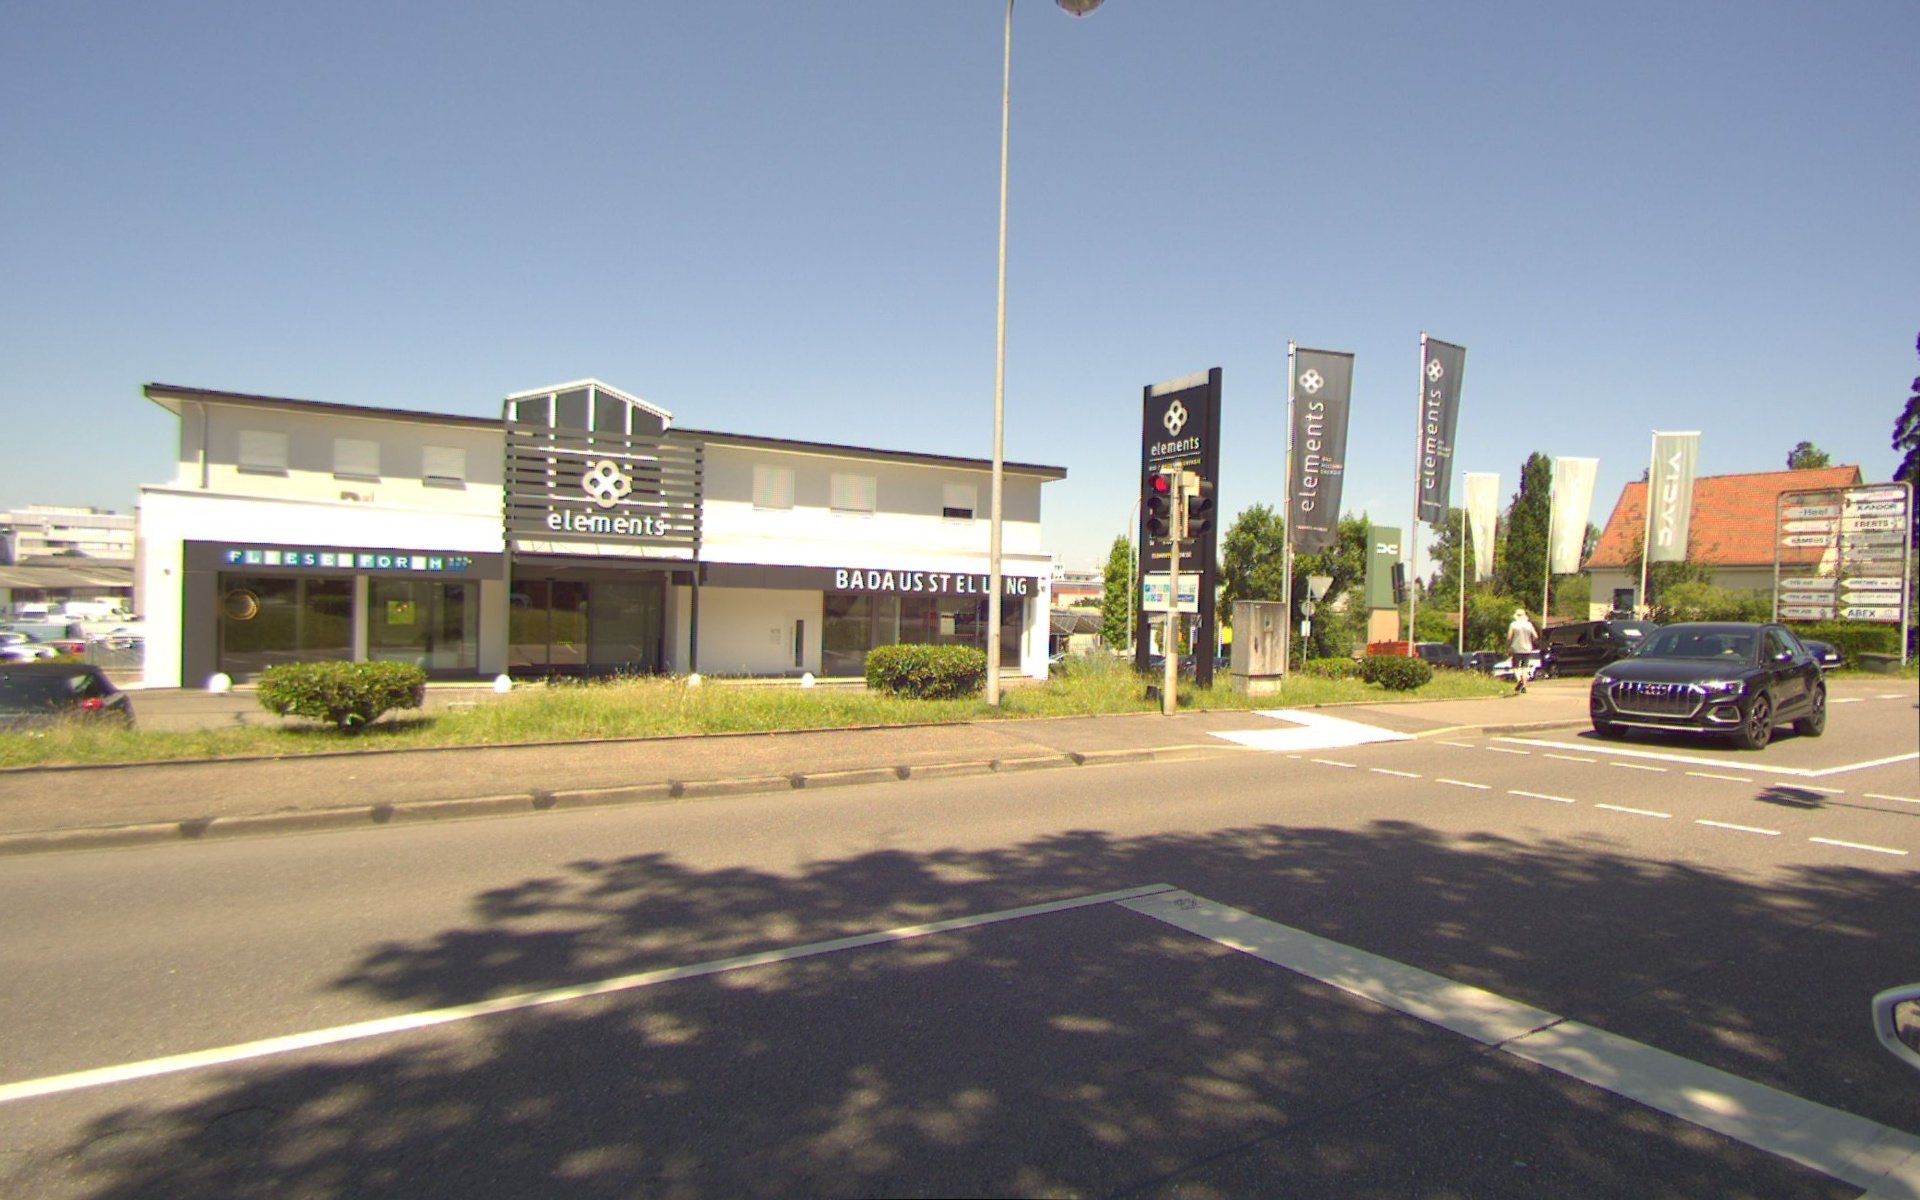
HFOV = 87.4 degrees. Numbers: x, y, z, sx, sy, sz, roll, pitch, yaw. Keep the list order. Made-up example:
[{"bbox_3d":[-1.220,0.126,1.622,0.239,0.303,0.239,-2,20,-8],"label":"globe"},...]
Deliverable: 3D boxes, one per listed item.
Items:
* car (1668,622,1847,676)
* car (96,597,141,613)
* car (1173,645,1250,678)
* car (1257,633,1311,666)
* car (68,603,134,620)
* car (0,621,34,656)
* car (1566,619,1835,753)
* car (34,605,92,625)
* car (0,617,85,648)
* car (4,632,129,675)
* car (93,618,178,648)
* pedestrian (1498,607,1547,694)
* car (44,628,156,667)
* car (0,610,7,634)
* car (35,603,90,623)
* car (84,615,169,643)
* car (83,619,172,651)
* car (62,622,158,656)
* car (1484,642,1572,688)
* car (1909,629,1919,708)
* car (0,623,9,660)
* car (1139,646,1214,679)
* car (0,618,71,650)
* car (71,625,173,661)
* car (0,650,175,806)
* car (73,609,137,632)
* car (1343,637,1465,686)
[{"bbox_3d":[24.998,1.496,31.663,1.751,1.524,4.129,1,-1,-20],"label":"car"},{"bbox_3d":[-100.091,0.616,119.523,3.726,1.778,1.719,2,-1,-28],"label":"car"},{"bbox_3d":[12.002,2.906,47.799,3.837,1.434,1.633,2,-1,-41],"label":"car"},{"bbox_3d":[18.738,2.839,58.028,1.785,1.744,4.075,1,0,36],"label":"car"},{"bbox_3d":[-96.014,1.308,112.363,5.236,1.778,2.051,2,-1,-28],"label":"car"},{"bbox_3d":[-51.430,1.996,52.785,3.726,1.778,1.719,2,-1,-28],"label":"car"},{"bbox_3d":[10.460,1.100,14.088,4.263,1.576,1.912,2,-1,-37],"label":"car"},{"bbox_3d":[-84.225,1.413,94.372,3.726,1.778,1.719,2,-1,-28],"label":"car"},{"bbox_3d":[-54.736,1.915,59.751,3.726,1.778,1.719,2,-1,-28],"label":"car"},{"bbox_3d":[-38.836,2.320,43.771,3.726,1.778,1.719,2,-1,-28],"label":"car"},{"bbox_3d":[-50.725,2.050,61.895,3.726,1.778,1.719,2,-1,-28],"label":"car"},{"bbox_3d":[11.715,1.039,20.931,0.689,1.785,0.545,1,0,-4],"label":"pedestrian"},{"bbox_3d":[-41.159,2.270,48.172,3.726,1.778,1.719,2,-1,-28],"label":"car"},{"bbox_3d":[-74.820,1.631,75.840,3.726,1.778,1.719,2,-1,-28],"label":"car"},{"bbox_3d":[-88.197,1.276,98.761,3.726,1.778,1.719,2,0,-28],"label":"car"},{"bbox_3d":[-55.188,1.930,66.555,4.004,1.778,1.719,2,-1,-28],"label":"car"},{"bbox_3d":[-49.173,2.079,59.397,3.726,1.778,1.719,2,-1,-28],"label":"car"},{"bbox_3d":[-46.885,2.137,55.503,3.726,1.778,1.719,2,-1,-28],"label":"car"},{"bbox_3d":[23.897,2.678,42.216,4.053,1.744,1.795,2,0,-38],"label":"car"},{"bbox_3d":[20.564,1.370,19.837,4.011,1.527,1.857,2,-1,-34],"label":"car"},{"bbox_3d":[-49.209,2.018,48.961,3.726,1.778,1.719,2,-1,-28],"label":"car"},{"bbox_3d":[10.838,3.089,50.197,3.973,1.506,1.735,2,-1,-44],"label":"car"},{"bbox_3d":[-53.316,1.943,57.166,3.726,1.778,1.719,2,-1,-28],"label":"car"},{"bbox_3d":[-43.258,2.225,51.962,3.726,1.778,1.719,2,-1,-28],"label":"car"},{"bbox_3d":[-11.766,1.508,12.838,1.746,1.553,4.076,1,-1,-24],"label":"car"},{"bbox_3d":[-71.034,1.723,83.490,3.726,1.778,1.719,2,0,-28],"label":"car"},{"bbox_3d":[16.912,2.331,38.287,4.022,1.744,1.808,2,0,-16],"label":"car"}]
